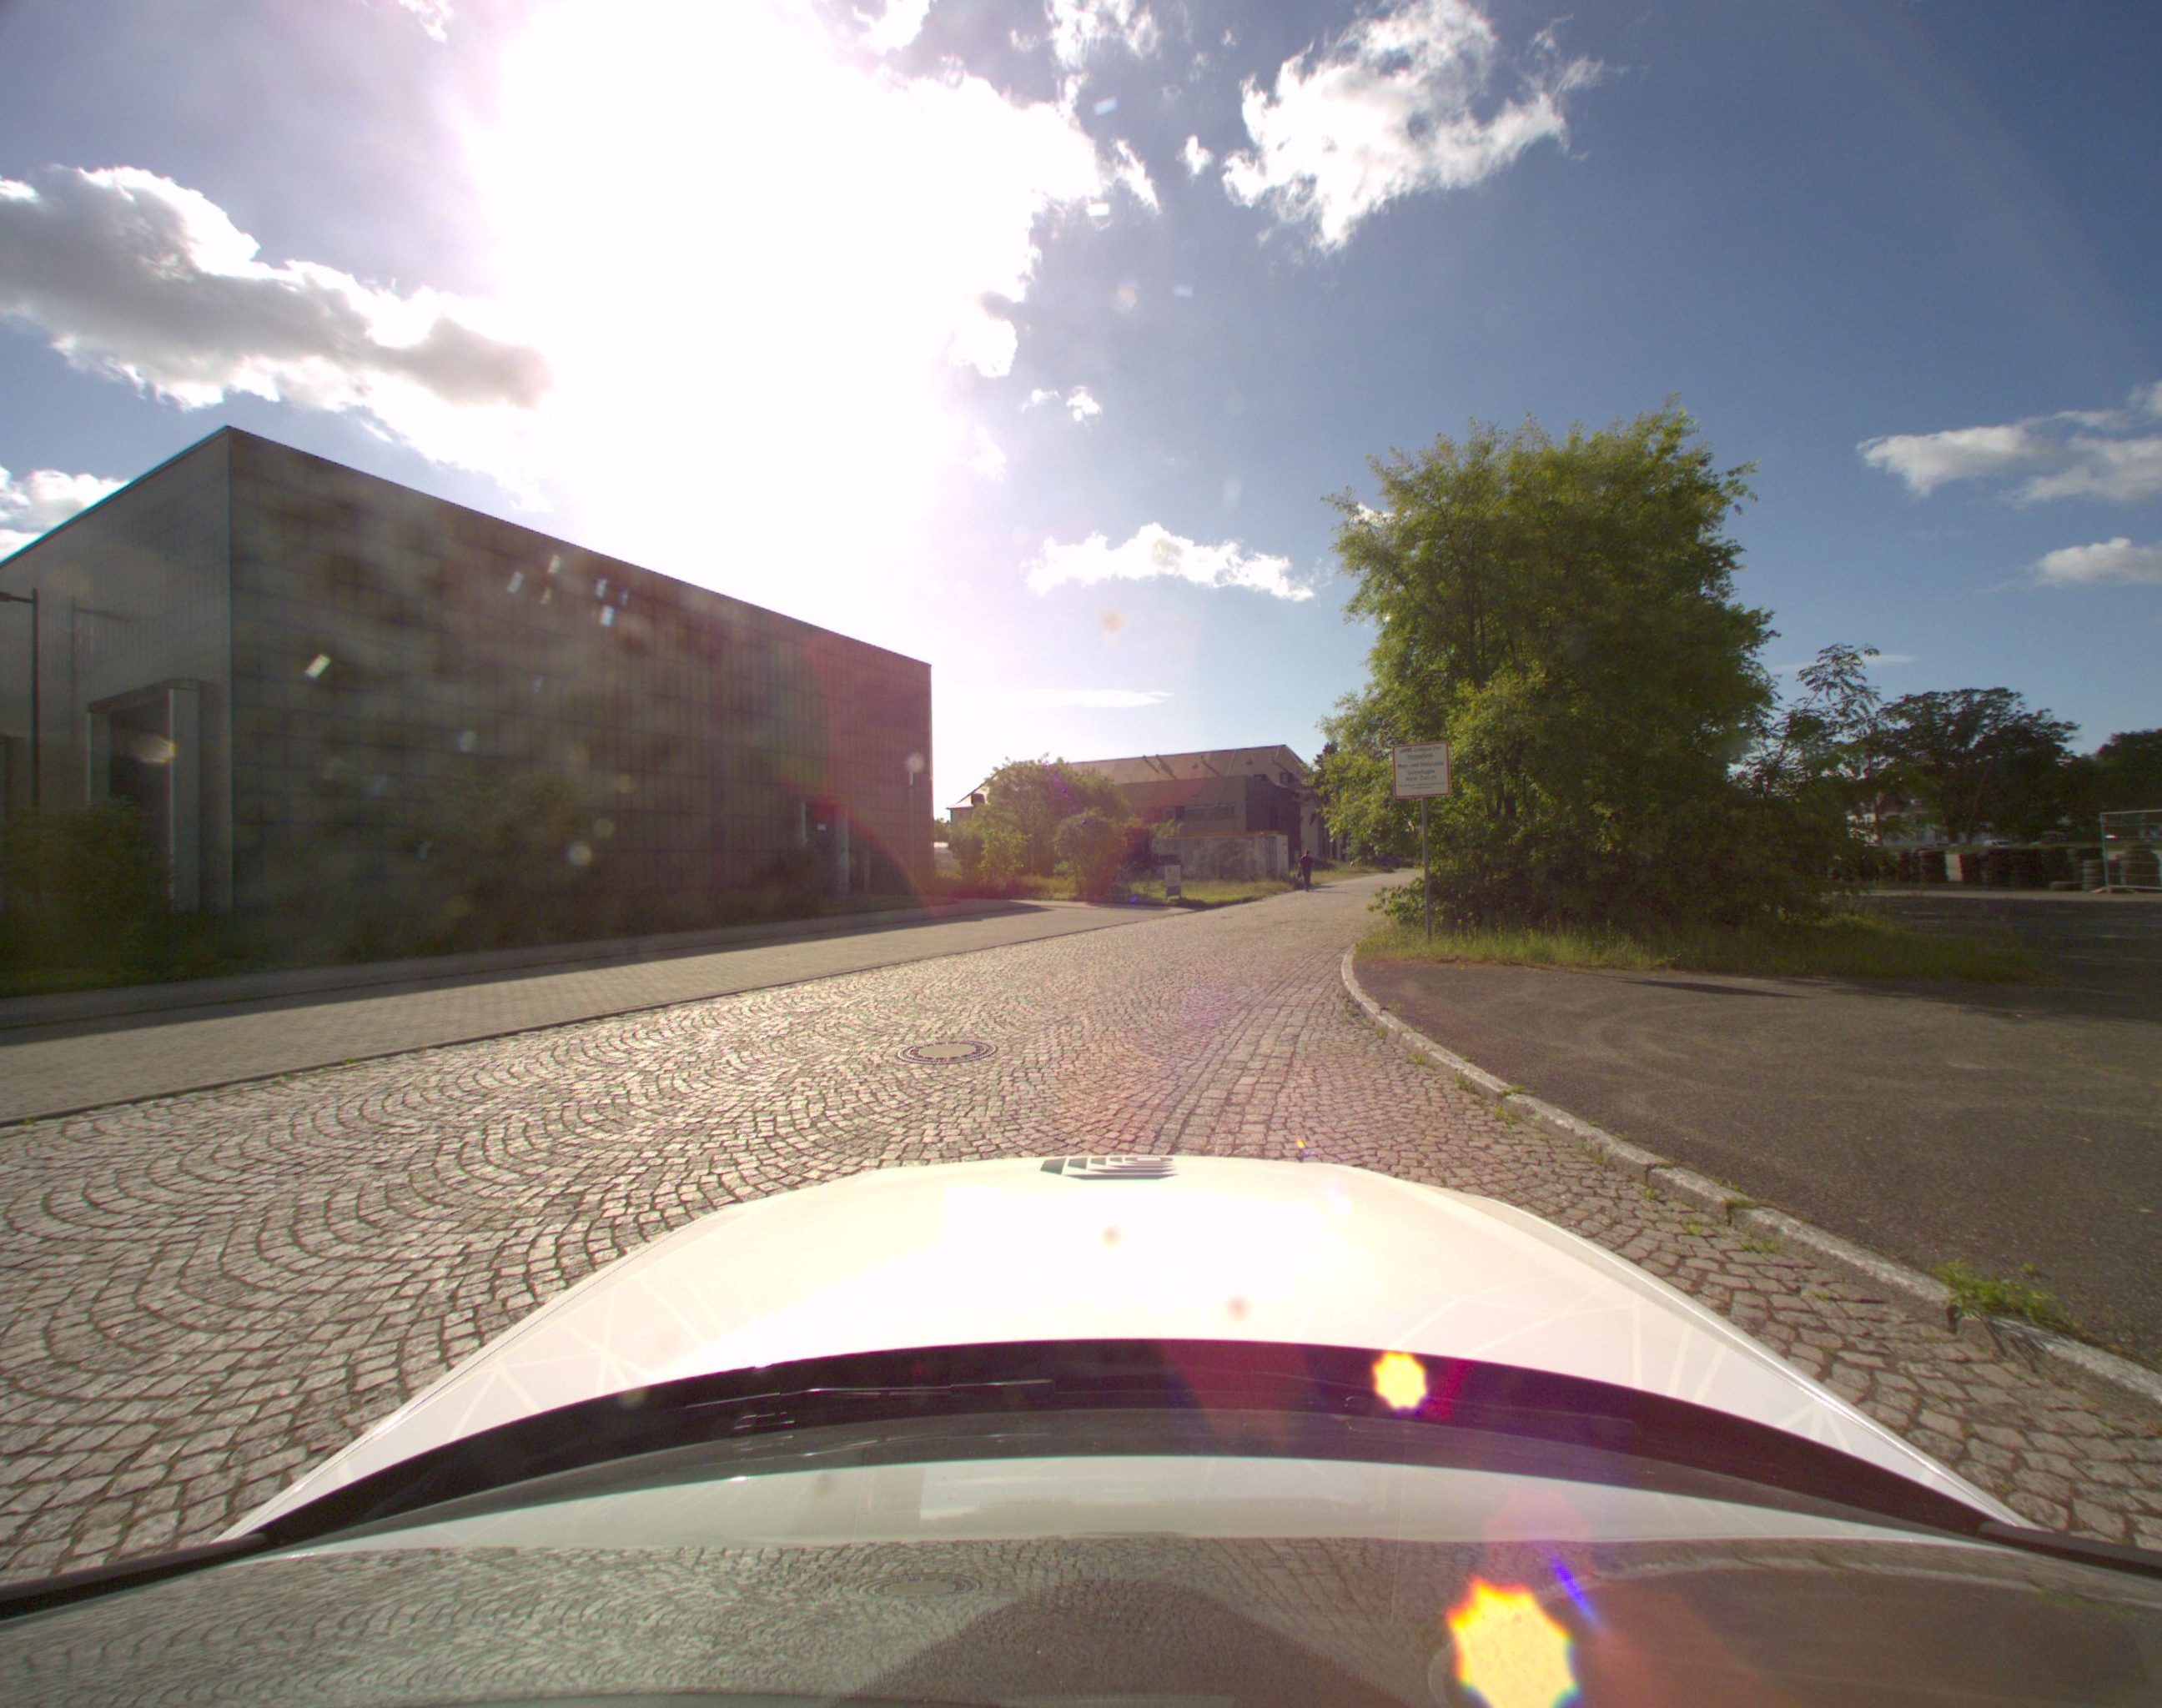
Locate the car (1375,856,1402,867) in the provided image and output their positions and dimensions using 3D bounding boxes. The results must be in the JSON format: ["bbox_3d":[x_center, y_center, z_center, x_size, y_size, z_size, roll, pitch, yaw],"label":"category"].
[{"bbox_3d":[35.886,0.864,95.181,2.831,1.206,1.380,-2,-1,18],"label":"car"}]

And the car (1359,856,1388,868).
[{"bbox_3d":[31.209,0.877,86.999,2.879,1.259,1.294,-2,-1,18],"label":"car"}]

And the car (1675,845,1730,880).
[{"bbox_3d":[26.238,0.361,34.482,1.526,1.407,3.600,-2,-1,33],"label":"car"}]

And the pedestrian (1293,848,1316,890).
[{"bbox_3d":[9.751,0.651,35.467,0.787,1.781,1.075,0,0,25],"label":"pedestrian"}]

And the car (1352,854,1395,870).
[{"bbox_3d":[28.868,0.794,80.337,3.798,1.441,1.592,-2,-1,24],"label":"car"}]
